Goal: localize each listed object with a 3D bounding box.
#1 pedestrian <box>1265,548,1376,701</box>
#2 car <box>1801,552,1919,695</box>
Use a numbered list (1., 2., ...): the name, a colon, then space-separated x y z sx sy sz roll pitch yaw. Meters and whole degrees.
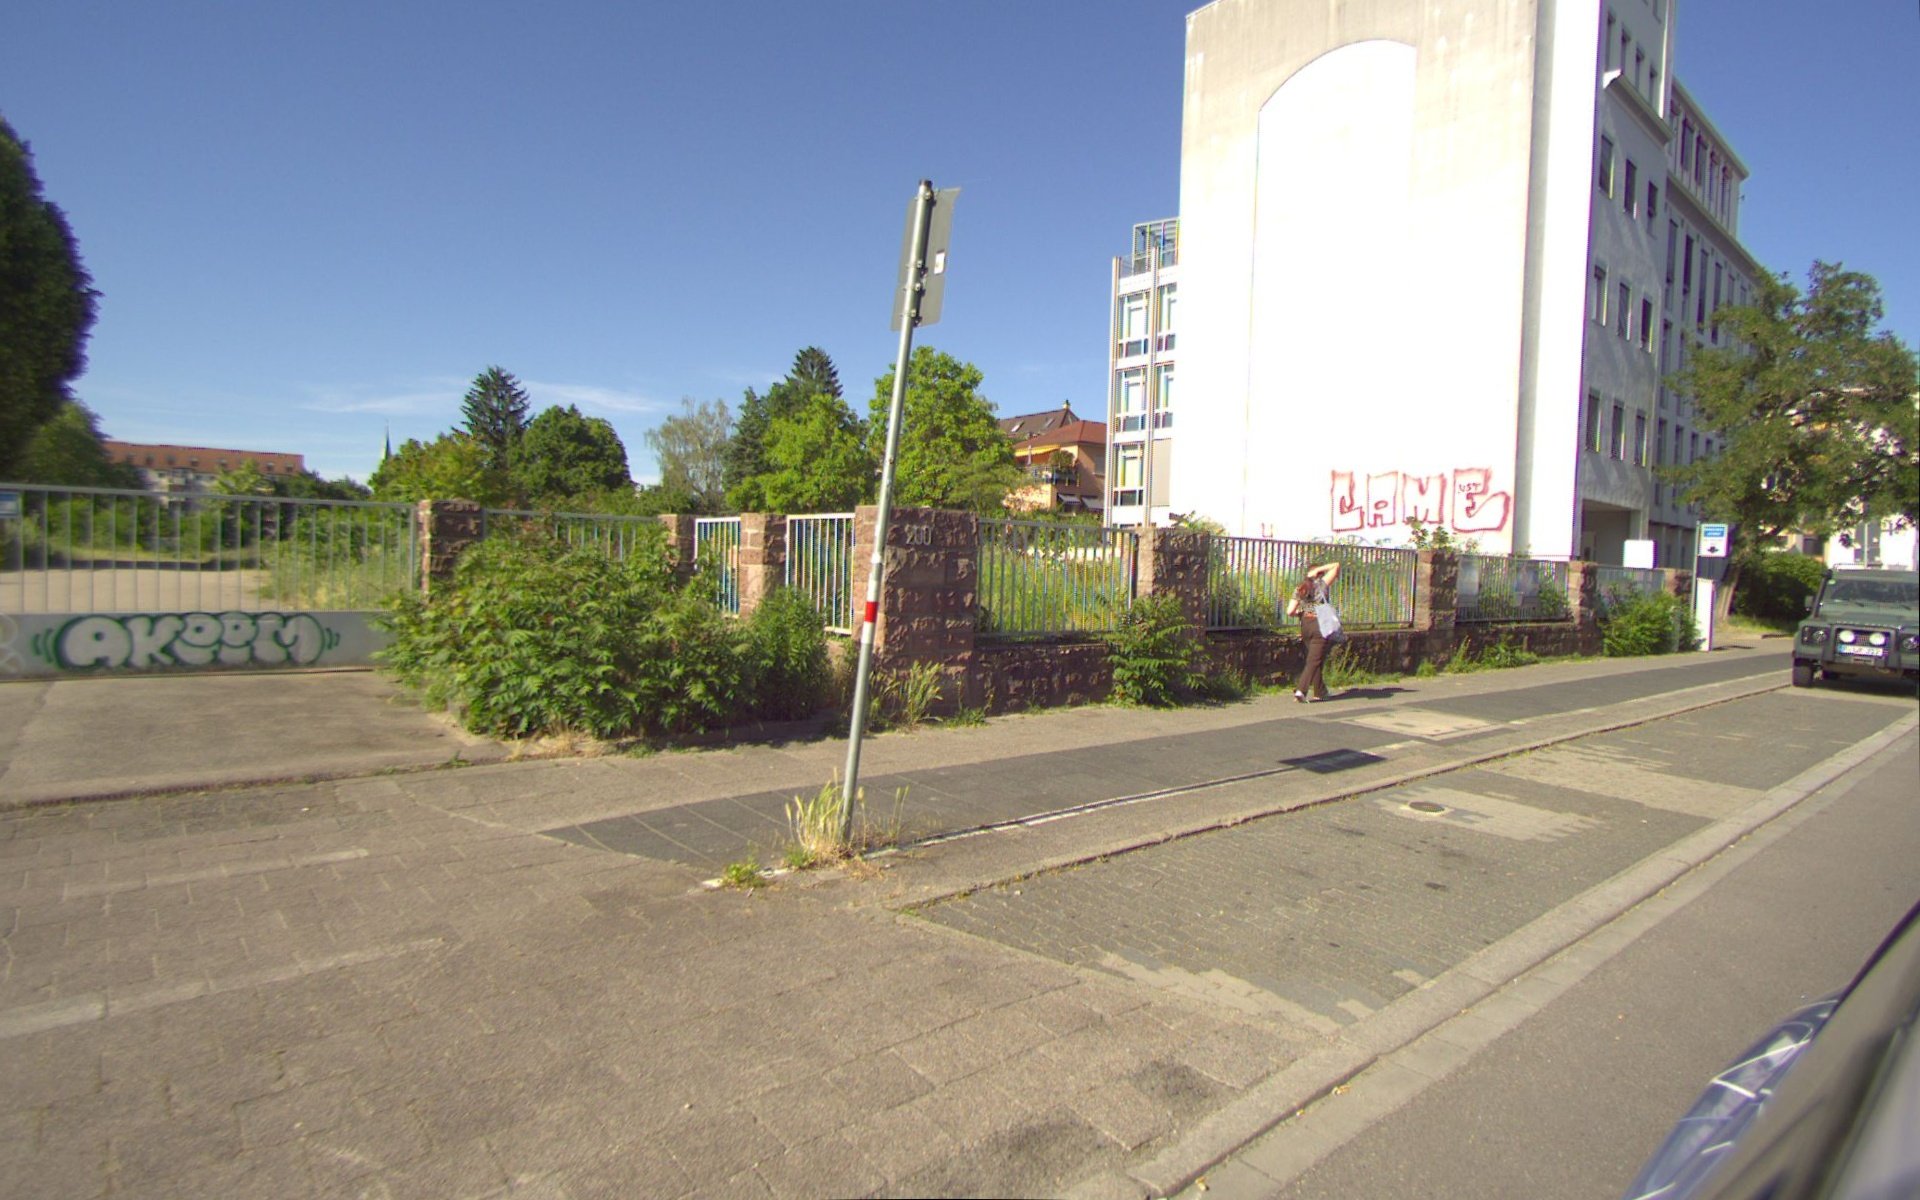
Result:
1. pedestrian: 4.028 0.252 11.310 0.881 1.602 0.745 1 3 -40
2. car: 15.472 0.312 16.656 4.692 2.038 1.664 0 4 -41
